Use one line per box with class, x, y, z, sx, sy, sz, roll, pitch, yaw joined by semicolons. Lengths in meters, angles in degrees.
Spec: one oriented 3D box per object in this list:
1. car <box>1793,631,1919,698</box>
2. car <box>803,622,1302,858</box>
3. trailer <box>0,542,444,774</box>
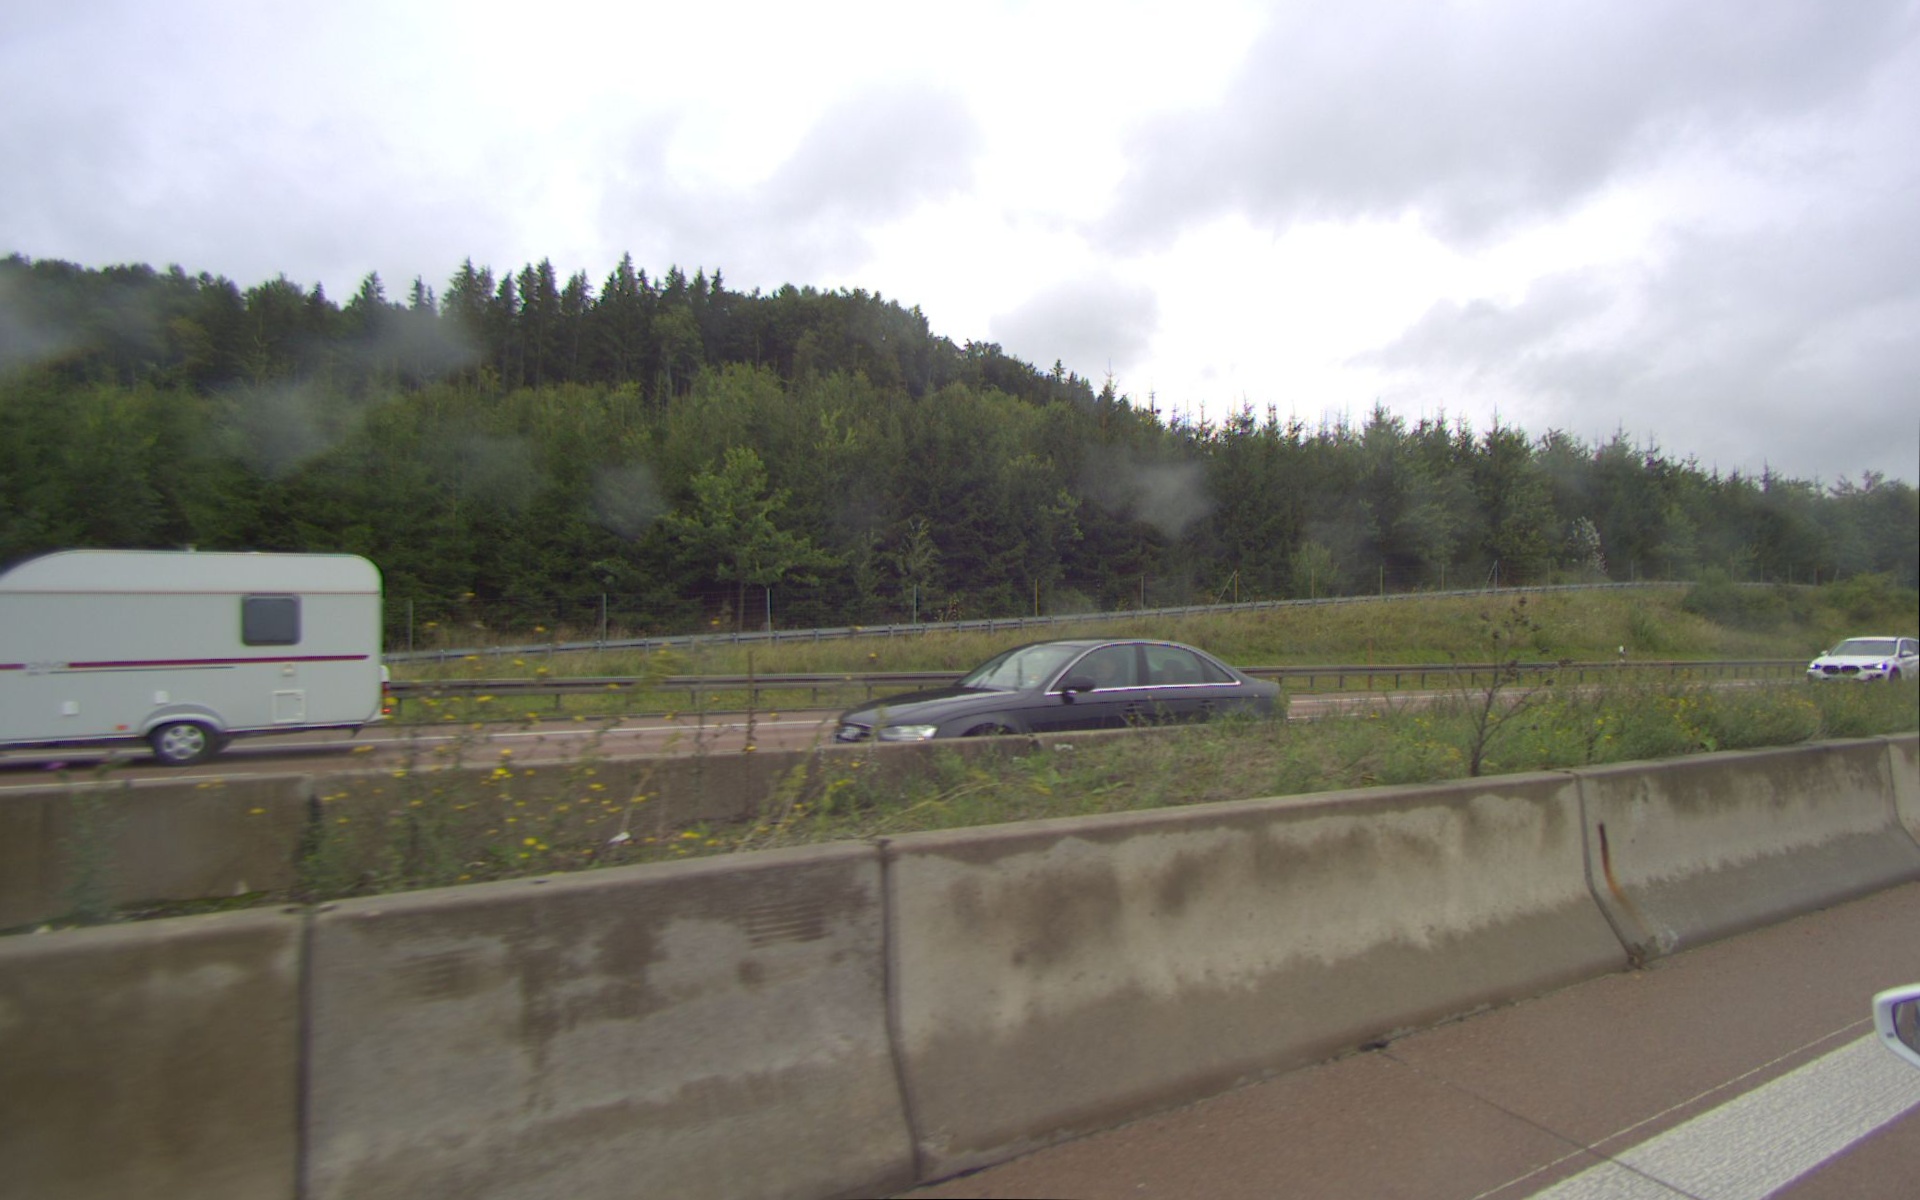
car;25.644;1.818;28.220;4.652;1.688;1.856;3;0;-29
car;0.954;1.125;9.270;4.424;1.688;1.662;2;0;-30
trailer;-9.407;0.692;12.294;5.374;2.443;2.266;1;-3;-31
